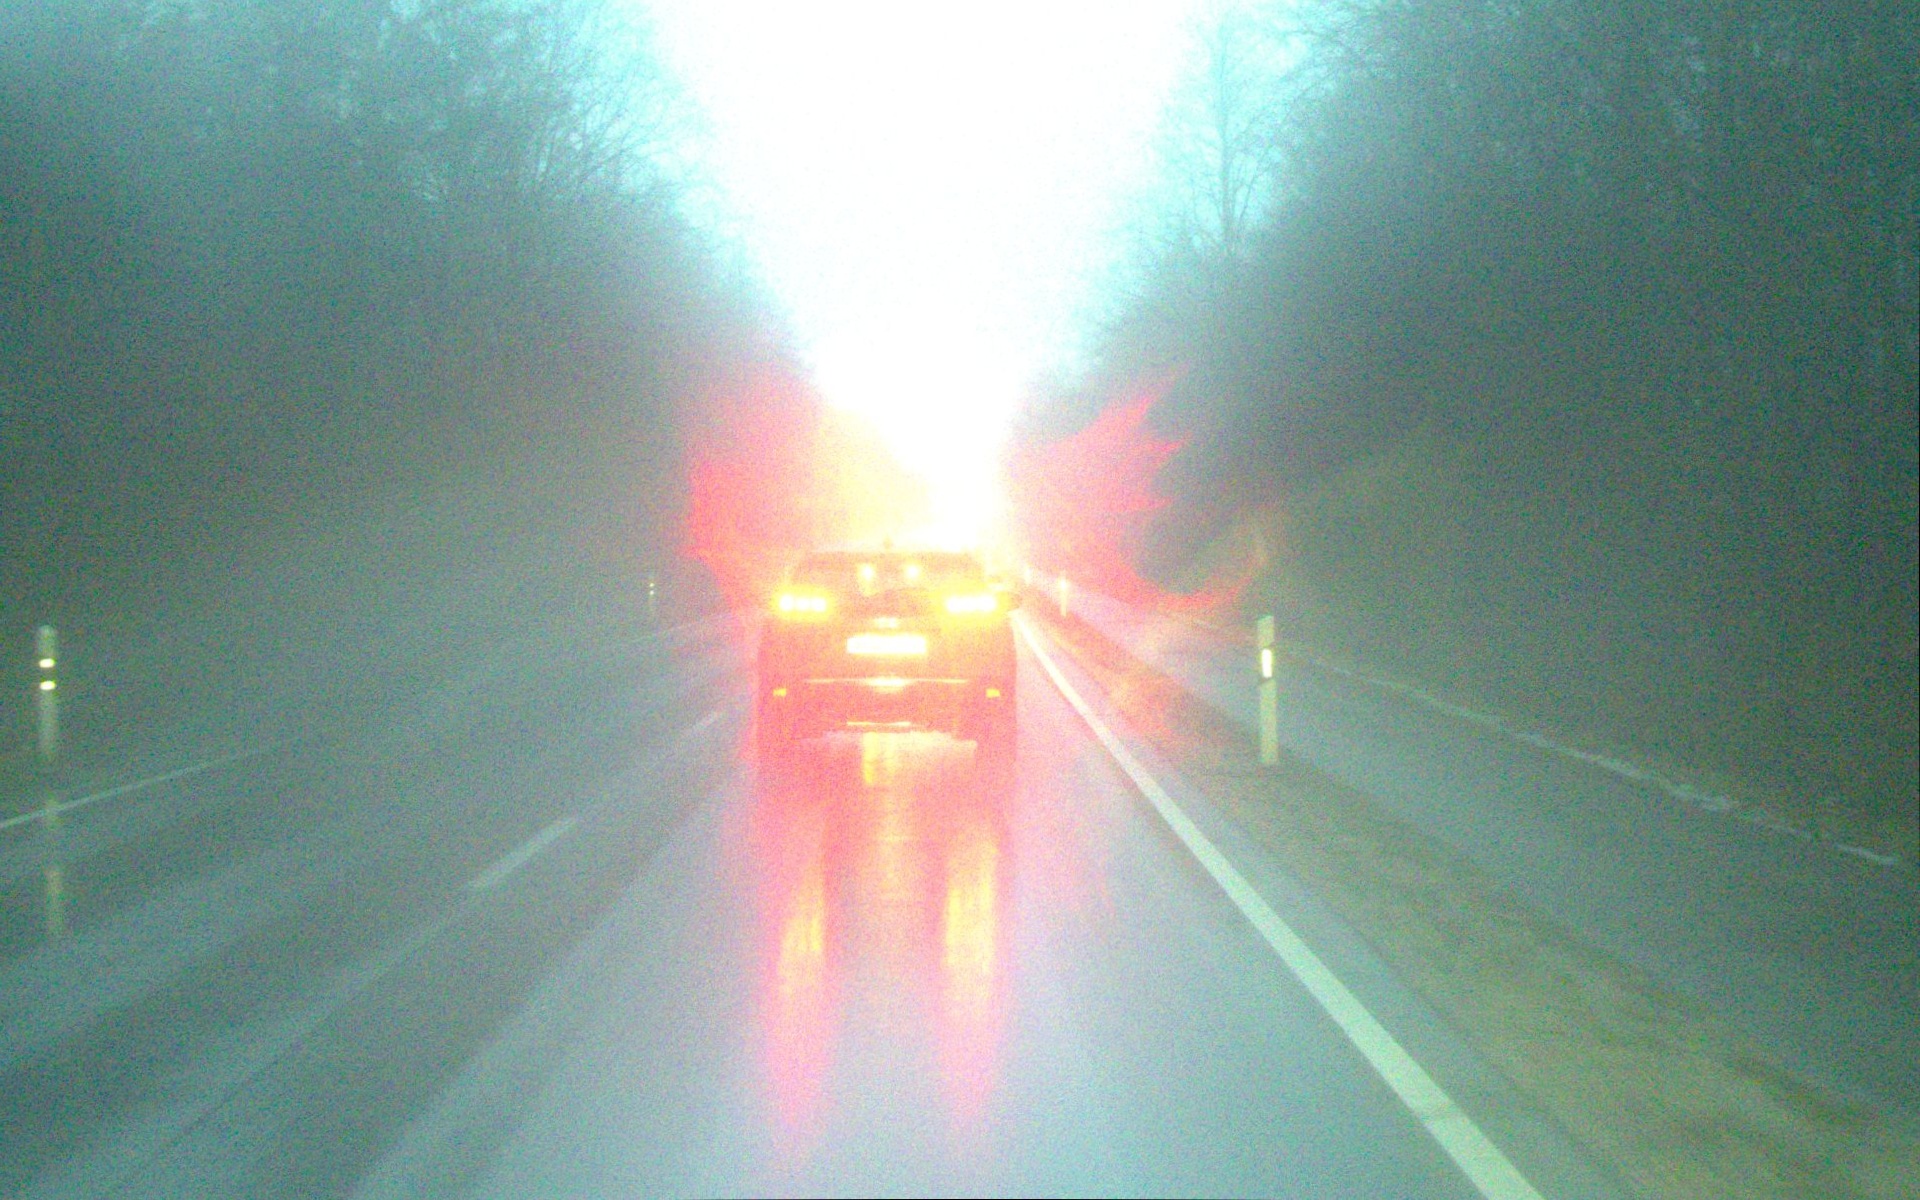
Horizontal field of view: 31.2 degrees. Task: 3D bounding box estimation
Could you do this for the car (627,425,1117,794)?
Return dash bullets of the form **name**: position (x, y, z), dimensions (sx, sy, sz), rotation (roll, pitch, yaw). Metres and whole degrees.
- **car**: position (-0.583, 0.007, 25.849), dimensions (3.183, 2.378, 6.636), rotation (1, 1, 0)
